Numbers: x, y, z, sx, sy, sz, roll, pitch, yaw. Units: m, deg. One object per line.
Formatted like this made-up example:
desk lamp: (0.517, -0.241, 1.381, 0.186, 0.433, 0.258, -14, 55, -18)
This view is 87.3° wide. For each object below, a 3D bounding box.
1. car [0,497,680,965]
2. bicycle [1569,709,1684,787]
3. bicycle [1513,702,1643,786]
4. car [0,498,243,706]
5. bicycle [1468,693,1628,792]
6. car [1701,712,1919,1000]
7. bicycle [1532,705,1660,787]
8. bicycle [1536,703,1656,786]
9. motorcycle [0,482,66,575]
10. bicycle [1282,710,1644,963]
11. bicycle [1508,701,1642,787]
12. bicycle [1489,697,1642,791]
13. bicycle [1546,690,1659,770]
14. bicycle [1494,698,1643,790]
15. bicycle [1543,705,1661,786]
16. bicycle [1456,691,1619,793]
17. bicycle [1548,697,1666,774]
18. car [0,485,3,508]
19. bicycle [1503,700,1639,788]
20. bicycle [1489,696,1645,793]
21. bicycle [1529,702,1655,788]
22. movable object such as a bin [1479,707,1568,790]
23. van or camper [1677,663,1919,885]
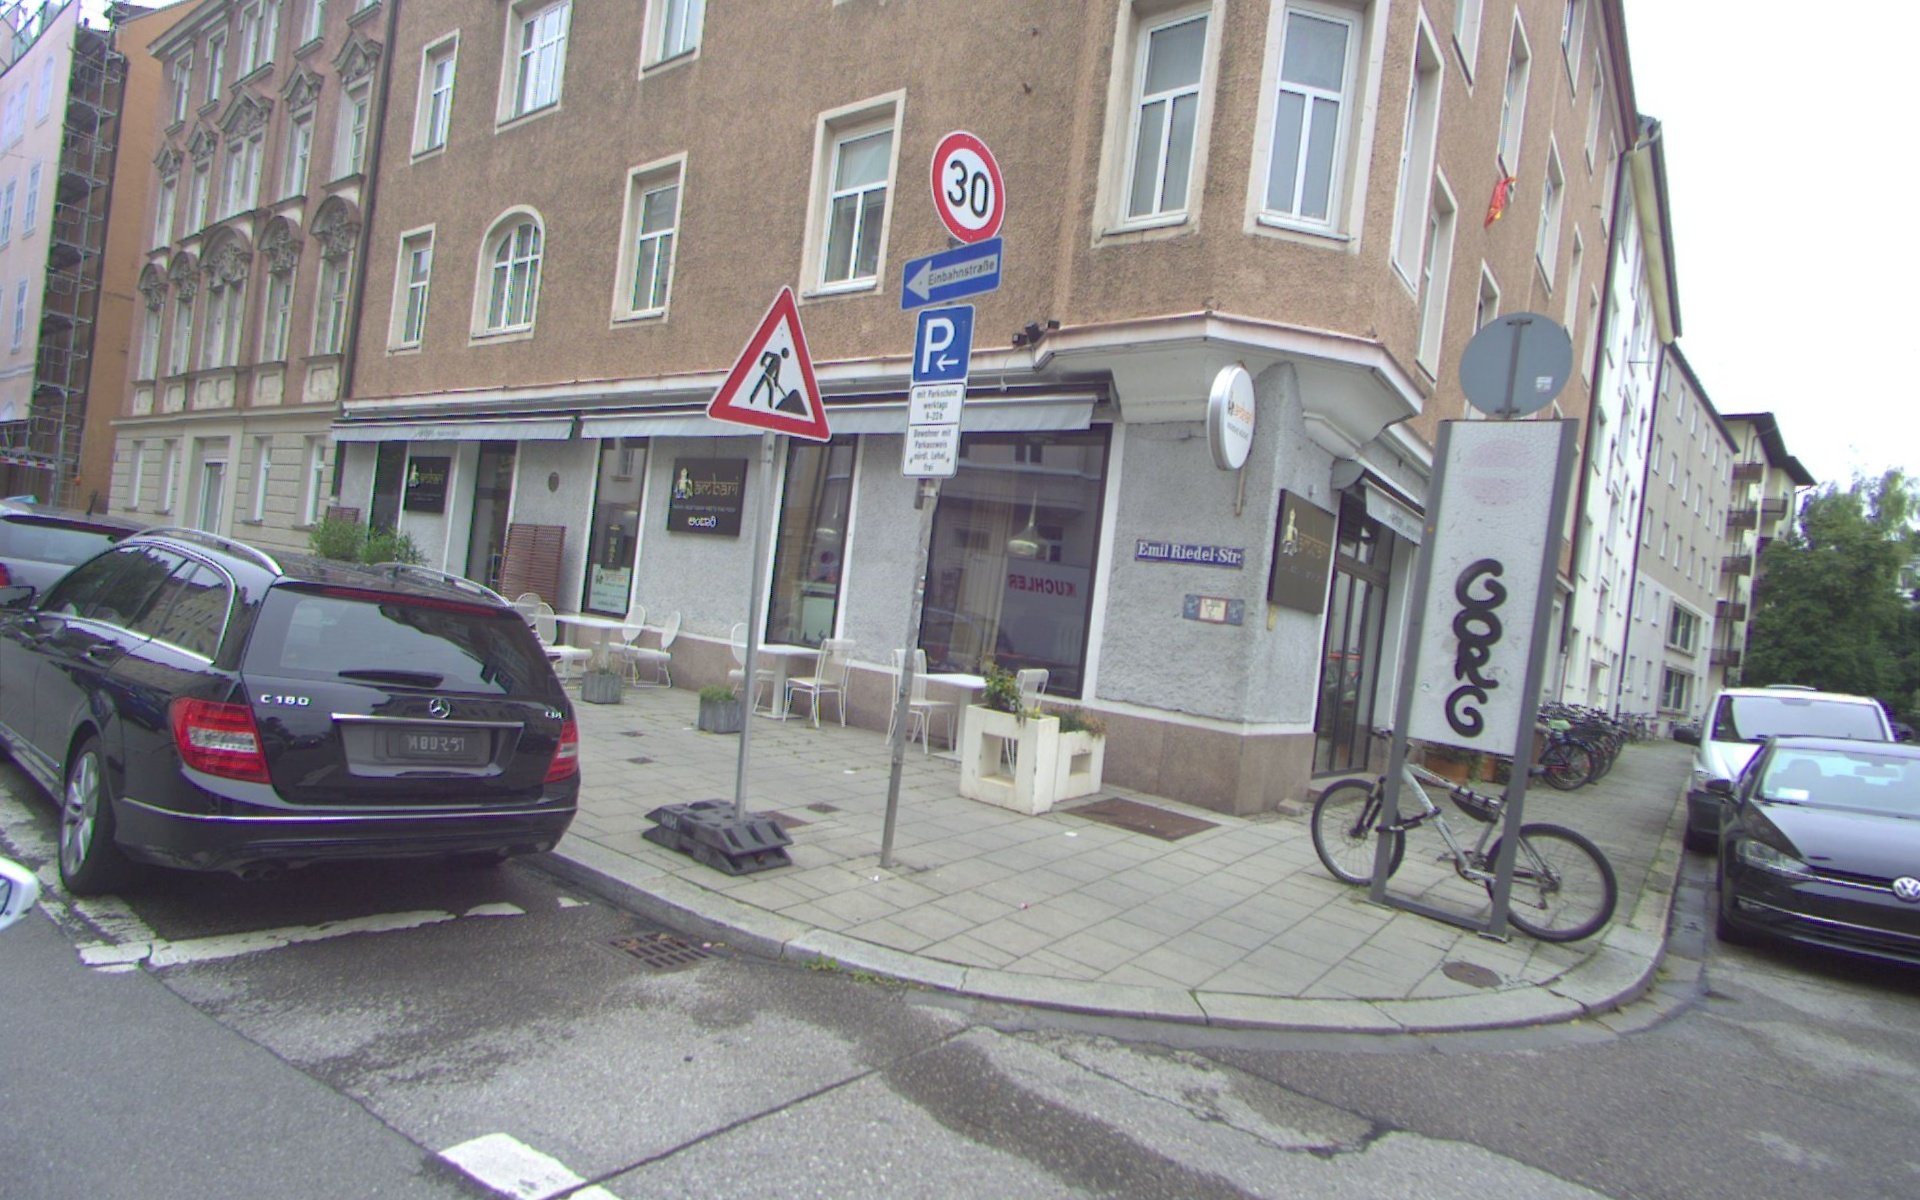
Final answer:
car: (-3.797, 0.340, 5.383, 4.715, 1.422, 1.847, 6, -1, 37)
bicycle: (13.375, 2.961, 20.238, 1.767, 1.275, 0.417, 6, 1, 21)
bicycle: (10.643, 2.465, 17.379, 1.767, 1.158, 0.417, 6, 0, 21)
car: (-7.841, -0.109, 8.520, 4.118, 1.411, 1.572, 6, -1, 36)
bicycle: (8.726, 2.102, 15.011, 1.893, 1.158, 0.475, 6, 0, 21)
car: (6.696, 1.712, 7.377, 1.864, 1.505, 3.872, 6, -1, 37)
bicycle: (11.214, 2.561, 17.790, 1.767, 1.158, 0.417, 6, 0, 21)
bicycle: (12.051, 2.732, 19.114, 1.767, 1.275, 0.417, 6, 1, 21)
motorcycle: (-17.155, -1.331, 18.320, 1.968, 1.523, 0.871, 7, 0, 39)
bicycle: (2.943, 1.325, 6.030, 1.776, 1.018, 0.495, 8, 3, 40)
bicycle: (10.345, 2.408, 16.982, 1.767, 1.158, 0.417, 6, 0, 21)
bicycle: (9.441, 2.231, 15.747, 1.893, 1.158, 0.417, 6, 0, 21)
bicycle: (13.954, 2.806, 21.893, 1.891, 1.426, 0.417, 6, 1, 21)
bicycle: (9.752, 2.293, 16.192, 1.893, 1.158, 0.417, 6, 0, 21)
bicycle: (12.521, 2.820, 19.665, 1.767, 1.275, 0.417, 6, 1, 21)
bicycle: (8.341, 2.032, 14.610, 1.893, 1.158, 0.475, 6, 0, 21)
bicycle: (13.391, 2.792, 20.859, 1.891, 1.275, 0.417, 6, 1, 21)
car: (-15.570, -1.092, 14.185, 5.549, 1.571, 1.932, 7, -1, 36)
bicycle: (10.080, 2.358, 16.662, 1.767, 1.158, 0.417, 6, 0, 21)
bicycle: (9.224, 2.185, 15.362, 1.893, 1.158, 0.417, 6, 0, 21)
bicycle: (11.445, 2.613, 18.260, 1.767, 1.275, 0.417, 6, 1, 21)
movable object such as a bin: (7.920, 2.064, 14.157, 0.952, 0.962, 0.733, 8, 1, 30)
van or camper: (9.992, 1.915, 12.087, 1.933, 1.941, 4.898, 4, -2, 38)
